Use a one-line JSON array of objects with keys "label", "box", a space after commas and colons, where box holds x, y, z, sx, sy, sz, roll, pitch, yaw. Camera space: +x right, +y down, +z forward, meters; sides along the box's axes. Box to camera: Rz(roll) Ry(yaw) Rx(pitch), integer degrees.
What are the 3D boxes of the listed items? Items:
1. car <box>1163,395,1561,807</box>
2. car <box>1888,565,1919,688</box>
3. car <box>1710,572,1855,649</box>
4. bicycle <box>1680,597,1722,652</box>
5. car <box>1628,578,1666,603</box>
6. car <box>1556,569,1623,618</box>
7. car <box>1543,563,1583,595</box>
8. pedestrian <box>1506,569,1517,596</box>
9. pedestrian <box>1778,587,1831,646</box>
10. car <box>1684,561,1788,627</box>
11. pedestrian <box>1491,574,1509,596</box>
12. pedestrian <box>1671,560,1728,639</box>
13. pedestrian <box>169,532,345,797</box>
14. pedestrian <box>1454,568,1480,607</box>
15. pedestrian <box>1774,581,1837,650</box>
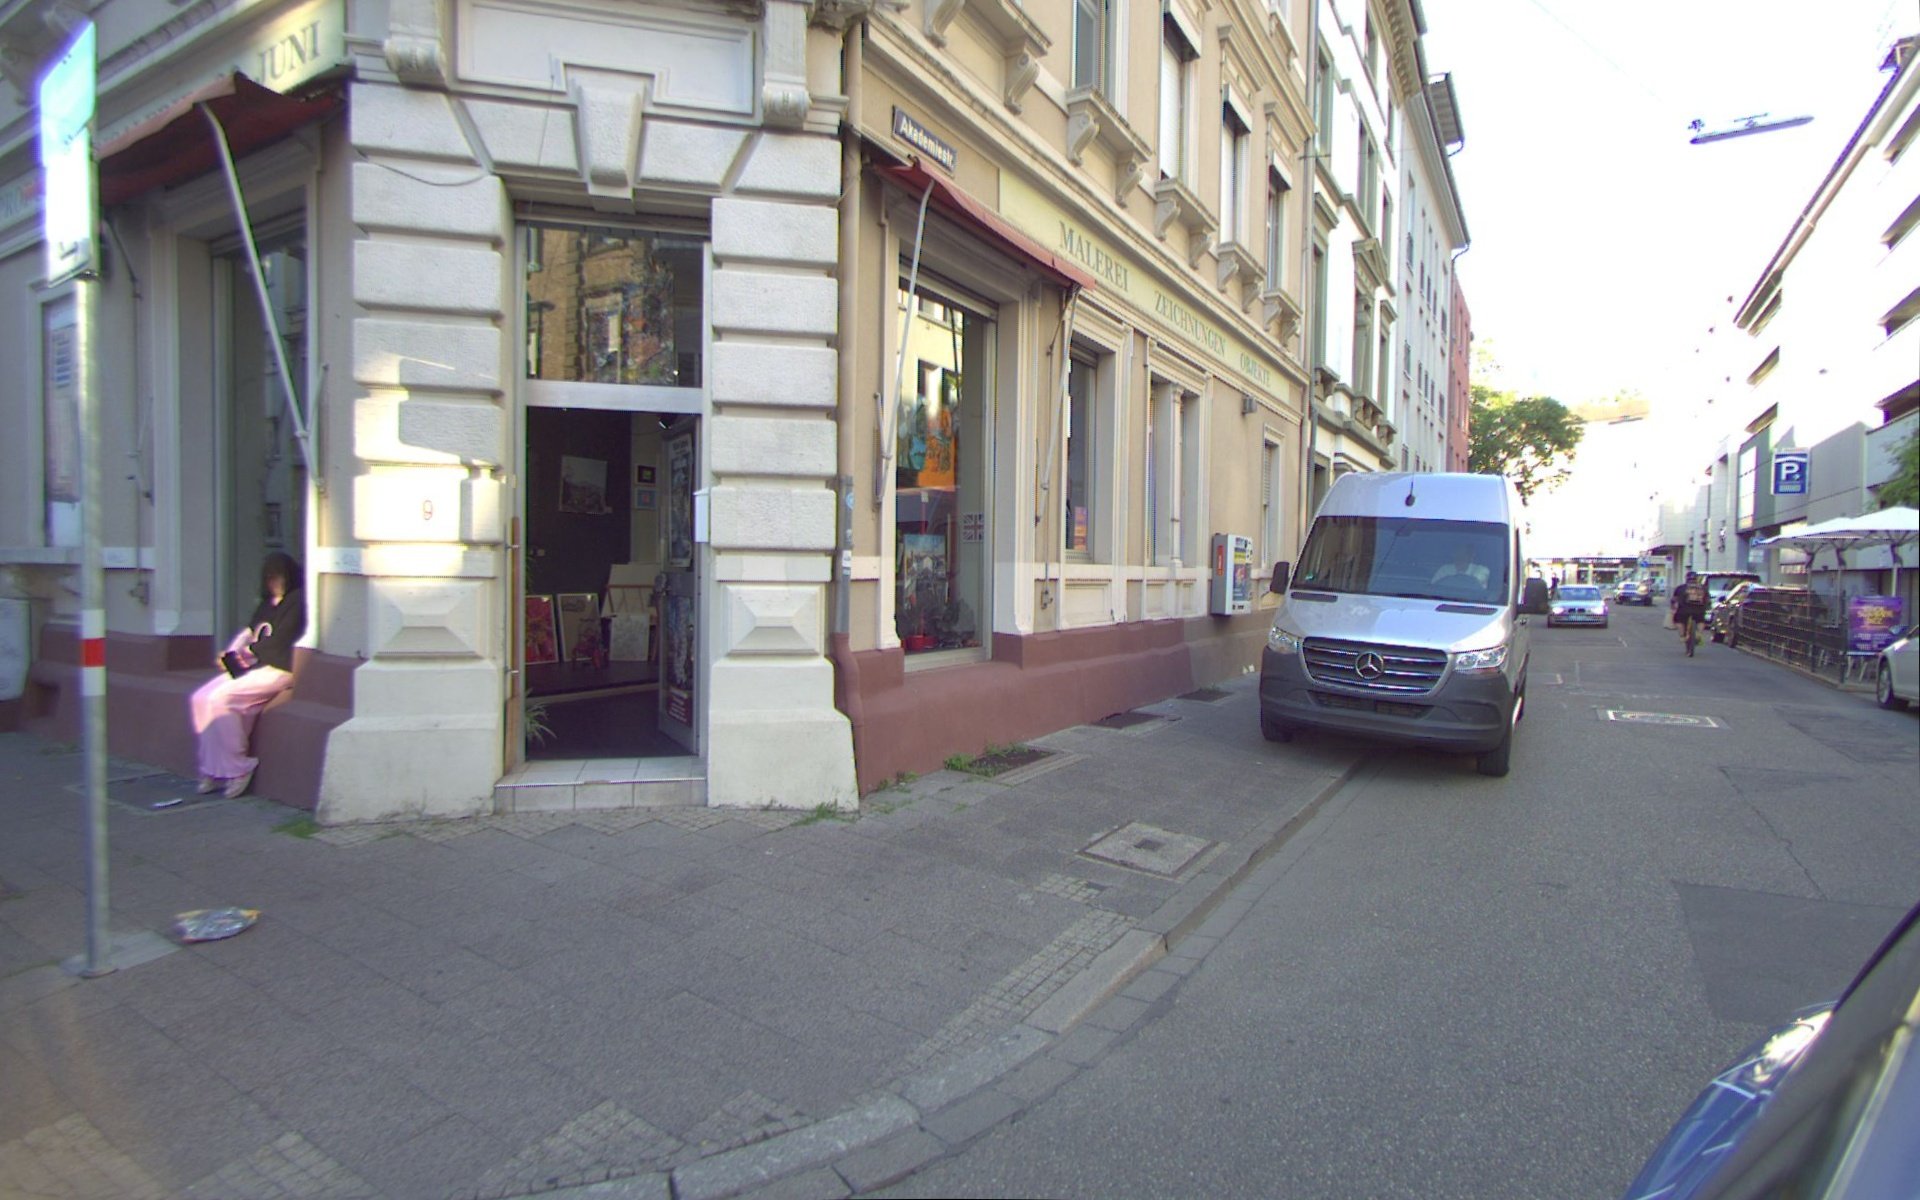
[{"label": "car", "box": [4.068, -0.093, 9.287, 2.268, 2.469, 6.132, 2, 2, 32]}, {"label": "car", "box": [11.512, 0.357, 10.714, 1.649, 1.431, 3.841, 2, 3, 30]}, {"label": "car", "box": [20.079, 0.161, 24.938, 1.871, 1.587, 4.723, 5, 4, 29]}, {"label": "bicycle", "box": [15.337, 0.483, 20.976, 0.535, 1.020, 1.959, 2, 2, 32]}, {"label": "car", "box": [45.330, -0.676, 66.801, 1.987, 1.434, 4.503, 4, 4, 34]}, {"label": "car", "box": [21.103, -0.264, 34.024, 1.775, 1.543, 3.958, 0, 1, 30]}, {"label": "car", "box": [39.734, -1.401, 66.655, 1.988, 2.038, 3.950, 2, 2, 35]}, {"label": "pedestrian", "box": [33.901, -1.085, 62.246, 0.436, 1.666, 0.549, 4, 3, 39]}, {"label": "pedestrian", "box": [17.356, 0.336, 20.797, 0.726, 1.180, 0.555, 0, 2, -26]}, {"label": "car", "box": [26.144, -0.259, 34.280, 1.983, 1.963, 4.801, 4, 3, 29]}, {"label": "pedestrian", "box": [33.309, -0.931, 62.404, 0.921, 1.264, 0.359, 4, 3, 29]}, {"label": "pedestrian", "box": [15.297, -0.026, 20.962, 0.826, 1.564, 1.070, 2, 2, 32]}, {"label": "pedestrian", "box": [-4.249, 0.347, 6.135, 0.576, 1.490, 0.709, 1, 2, 32]}, {"label": "pedestrian", "box": [19.763, -0.494, 39.433, 0.821, 1.504, 0.654, 2, 2, 31]}, {"label": "pedestrian", "box": [16.724, 0.292, 20.040, 0.777, 1.303, 0.905, 2, 2, 32]}]
